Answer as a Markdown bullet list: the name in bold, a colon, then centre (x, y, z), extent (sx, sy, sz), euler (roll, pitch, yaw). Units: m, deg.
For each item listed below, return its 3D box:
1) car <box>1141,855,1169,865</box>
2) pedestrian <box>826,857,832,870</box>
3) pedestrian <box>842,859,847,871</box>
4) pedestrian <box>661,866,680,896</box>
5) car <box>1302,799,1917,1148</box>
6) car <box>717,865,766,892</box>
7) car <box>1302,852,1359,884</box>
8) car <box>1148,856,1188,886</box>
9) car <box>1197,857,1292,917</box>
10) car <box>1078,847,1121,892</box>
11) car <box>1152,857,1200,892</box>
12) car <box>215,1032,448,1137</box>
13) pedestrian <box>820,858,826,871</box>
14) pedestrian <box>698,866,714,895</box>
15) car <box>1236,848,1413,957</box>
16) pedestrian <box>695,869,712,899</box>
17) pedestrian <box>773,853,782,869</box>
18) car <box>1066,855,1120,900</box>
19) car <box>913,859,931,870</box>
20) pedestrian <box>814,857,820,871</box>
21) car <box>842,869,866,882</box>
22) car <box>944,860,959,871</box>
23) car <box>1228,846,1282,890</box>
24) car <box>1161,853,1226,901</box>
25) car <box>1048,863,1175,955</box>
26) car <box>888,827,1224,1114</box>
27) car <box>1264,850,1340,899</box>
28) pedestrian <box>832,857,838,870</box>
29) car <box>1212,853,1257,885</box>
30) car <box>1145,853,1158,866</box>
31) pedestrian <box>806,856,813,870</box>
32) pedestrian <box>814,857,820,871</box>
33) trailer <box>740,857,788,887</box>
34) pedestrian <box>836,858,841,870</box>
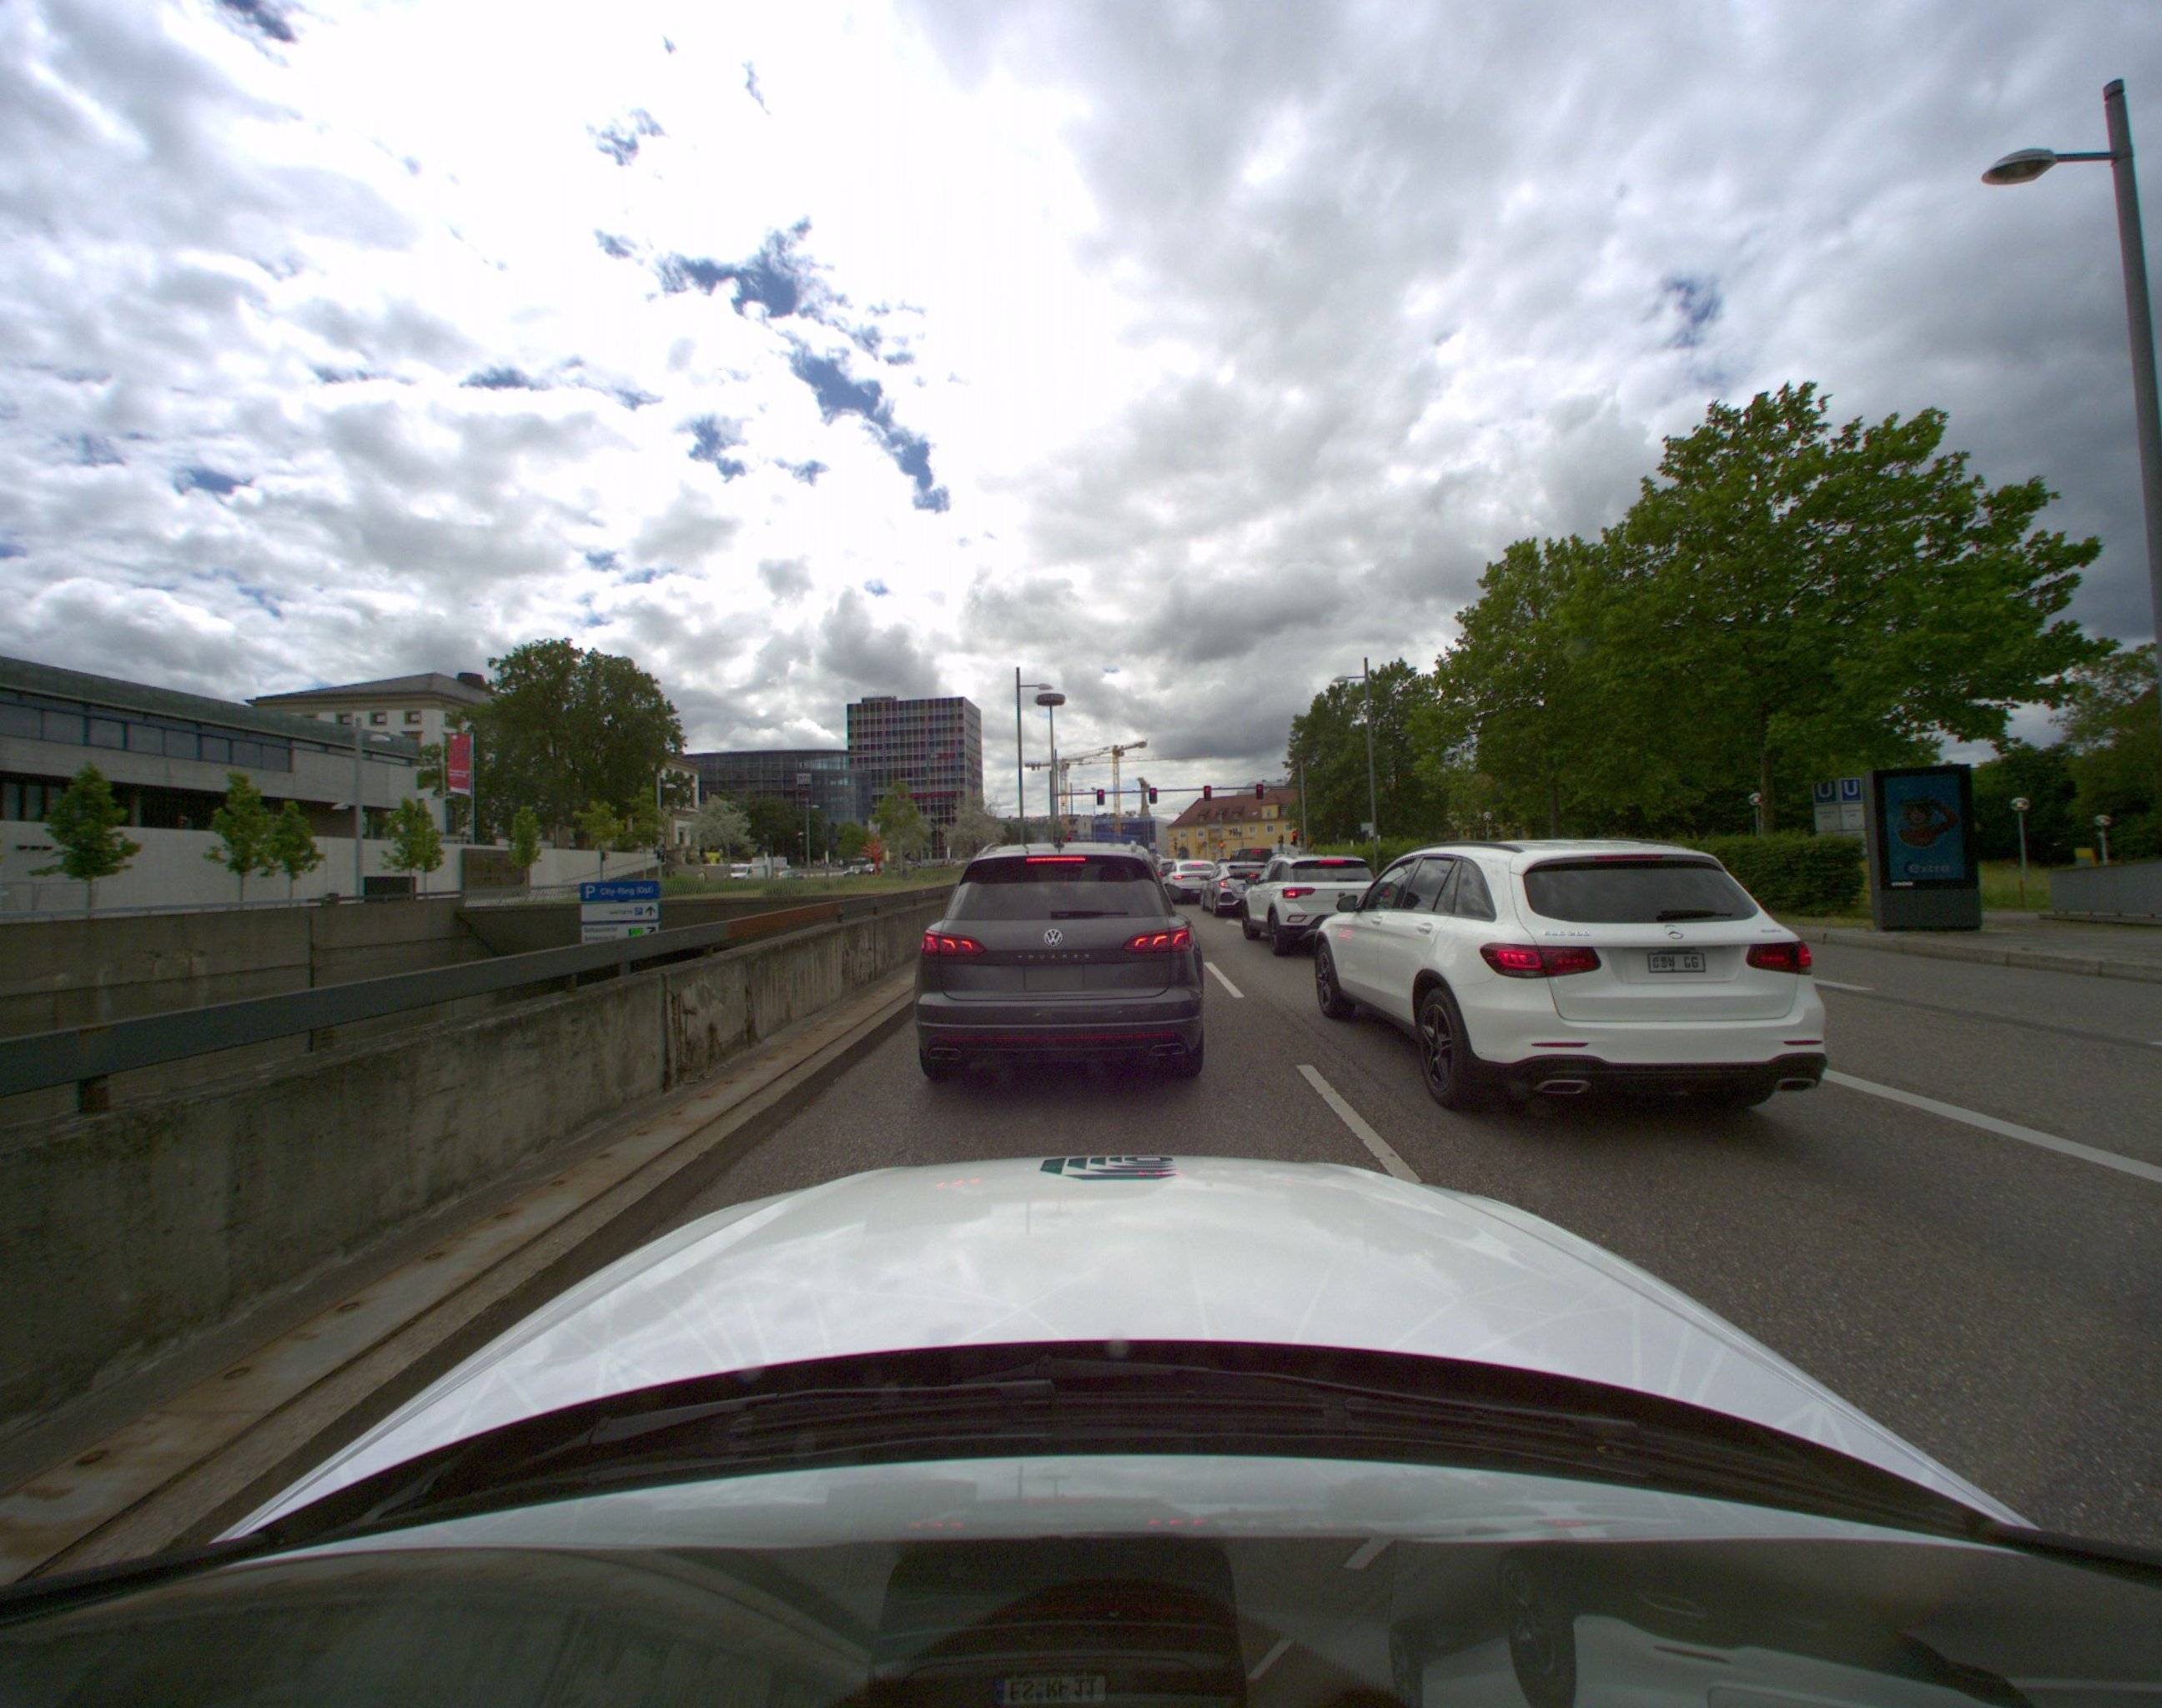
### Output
- **car**: centre (11.910, 0.970, 131.753), extent (4.173, 1.603, 1.764), euler (-1, -2, 38)
- **pedestrian**: centre (-39.767, 1.483, 128.336), extent (0.739, 2.013, 0.789), euler (-2, 1, -14)
- **pedestrian**: centre (-40.814, 1.814, 140.439), extent (0.739, 2.013, 0.789), euler (-2, 1, -14)
- **pedestrian**: centre (-27.764, 1.838, 55.126), extent (0.783, 2.013, 0.842), euler (-2, 0, 38)
- **car**: centre (3.151, 0.603, 6.192), extent (1.918, 1.653, 4.493), euler (-1, -1, 3)
- **car**: centre (-28.816, 2.037, 69.288), extent (1.985, 2.013, 4.695), euler (-2, 1, 3)
- **car**: centre (11.972, 0.692, 39.372), extent (1.921, 1.460, 4.535), euler (0, -1, 7)
- **car**: centre (4.664, 0.922, 44.067), extent (1.918, 1.529, 4.050), euler (-1, -1, 3)
- **car**: centre (4.322, 0.846, 22.226), extent (1.918, 1.432, 4.493), euler (-1, -1, 3)
- **car**: centre (0.880, 0.706, 38.687), extent (1.944, 2.018, 3.932), euler (0, 0, 1)
- **car**: centre (4.345, 0.932, 37.782), extent (1.918, 1.529, 4.050), euler (-1, -1, 3)
- **car**: centre (-20.017, 6.111, 22.098), extent (2.155, 1.767, 4.394), euler (-3, -4, 1)
- **pedestrian**: centre (-40.295, 1.578, 127.131), extent (0.741, 2.013, 1.076), euler (-2, 1, -20)
- **pedestrian**: centre (-27.279, 1.946, 59.238), extent (0.729, 2.012, 0.628), euler (-2, 4, -6)
- **car**: centre (3.951, 0.744, 14.046), extent (1.918, 1.551, 4.493), euler (-1, -1, 3)
- **pedestrian**: centre (-25.596, 2.030, 55.190), extent (0.867, 2.013, 0.621), euler (-2, 1, -42)
- **pedestrian**: centre (-40.234, 0.917, 107.895), extent (0.737, 2.013, 1.113), euler (-2, 1, -3)
- **car**: centre (0.482, 0.869, 31.154), extent (1.944, 1.600, 3.932), euler (0, 0, 1)
- **car**: centre (-32.763, 2.151, 167.740), extent (2.009, 2.013, 4.641), euler (-2, 1, -35)
- **pedestrian**: centre (-40.753, 1.524, 125.828), extent (0.740, 2.013, 0.915), euler (-2, 1, -17)
- **car**: centre (-25.473, 2.415, 91.564), extent (1.727, 1.495, 3.594), euler (0, -2, 0)
- **car**: centre (-24.476, 2.171, 153.687), extent (1.999, 2.013, 4.663), euler (-2, 1, -18)
- **car**: centre (8.266, 0.680, 39.060), extent (1.902, 2.014, 4.014), euler (0, -1, 3)
- **car**: centre (3.910, 0.789, 28.967), extent (1.918, 1.529, 4.493), euler (-1, -1, 3)
- **car**: centre (0.531, 0.875, 14.512), extent (1.944, 1.384, 3.932), euler (0, 0, 1)
- **car**: centre (-0.094, 0.698, 6.787), extent (1.944, 1.651, 4.001), euler (-1, 0, 1)
- **car**: centre (8.239, 0.714, 30.696), extent (1.984, 1.640, 4.310), euler (-1, 0, 4)
- **pedestrian**: centre (-39.297, 1.533, 130.062), extent (0.739, 2.013, 0.789), euler (-2, 1, -14)
- **car**: centre (8.350, 0.815, 44.640), extent (1.902, 1.697, 4.014), euler (0, -1, 3)
- **car**: centre (9.680, 0.746, 111.420), extent (1.612, 1.627, 4.002), euler (0, -2, 3)
- **pedestrian**: centre (-40.811, 1.396, 122.402), extent (0.735, 2.013, 0.793), euler (-2, 1, 2)
- **pedestrian**: centre (-41.089, 1.552, 126.868), extent (0.741, 2.013, 0.914), euler (-2, 1, -20)
- **trailer**: centre (-28.856, 1.608, 74.421), extent (2.030, 2.604, 5.511), euler (0, 0, 2)
- **pedestrian**: centre (-41.737, 1.755, 140.343), extent (0.739, 2.013, 0.789), euler (-2, 1, -14)
